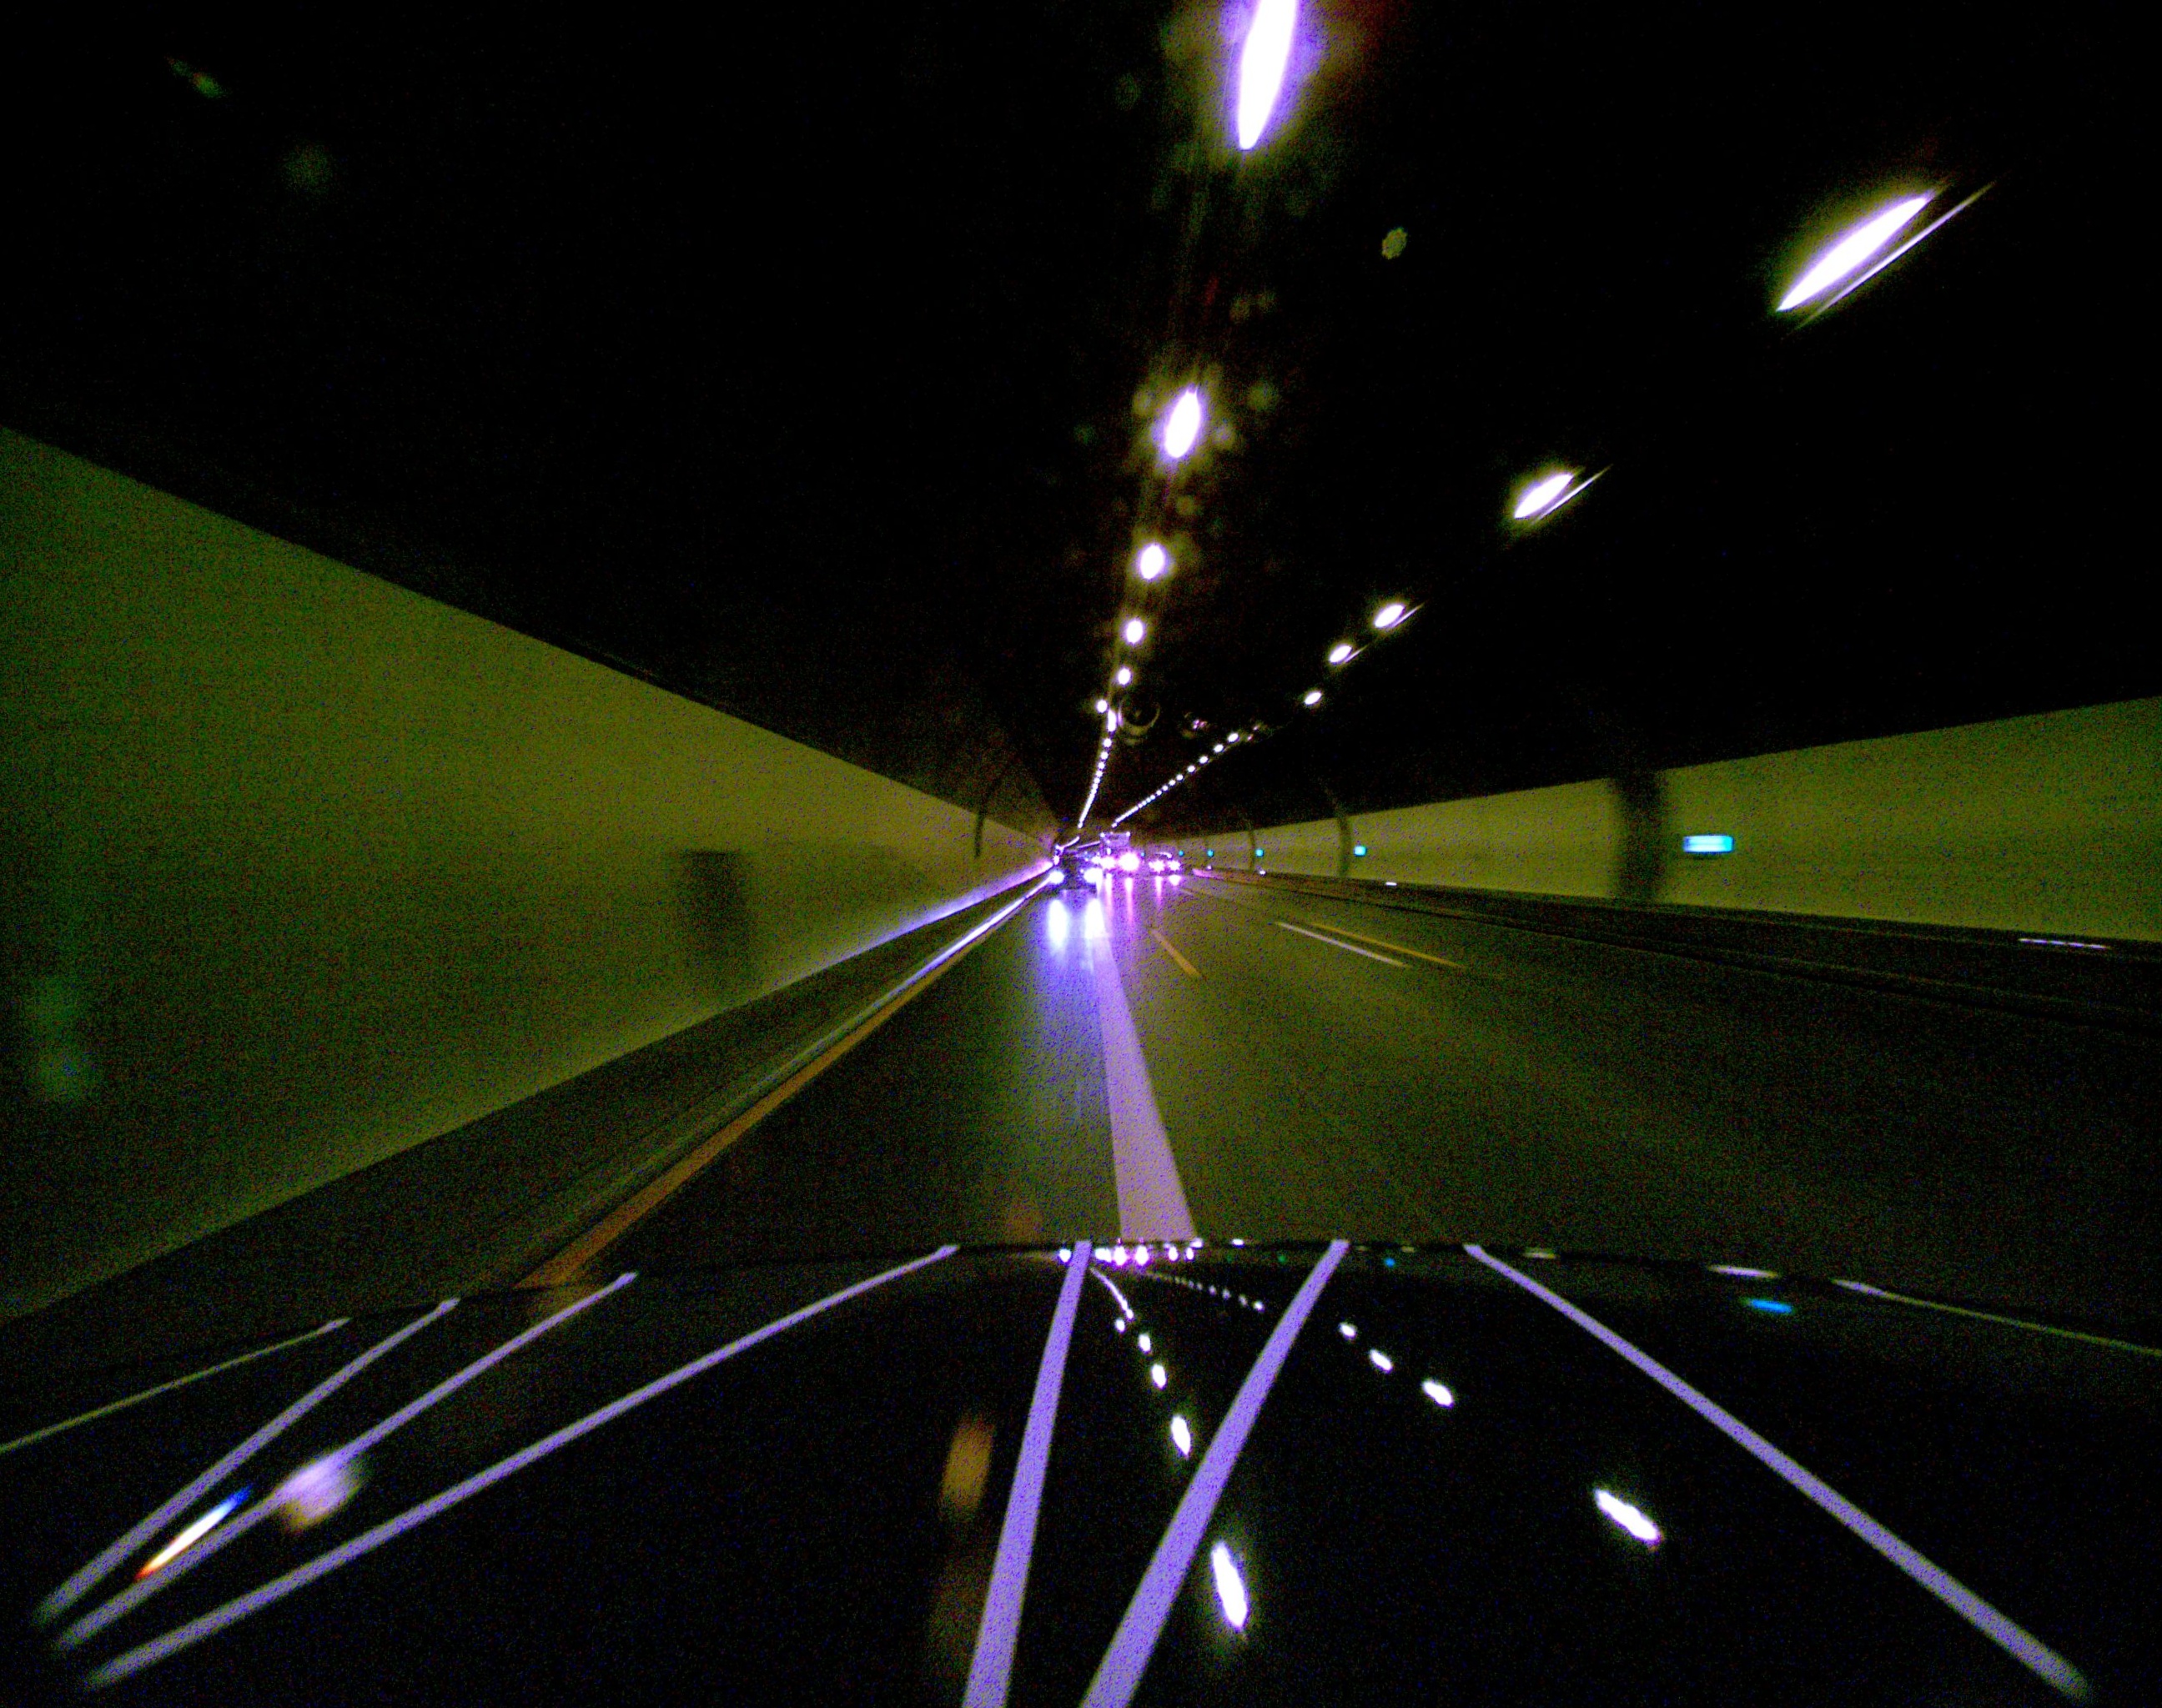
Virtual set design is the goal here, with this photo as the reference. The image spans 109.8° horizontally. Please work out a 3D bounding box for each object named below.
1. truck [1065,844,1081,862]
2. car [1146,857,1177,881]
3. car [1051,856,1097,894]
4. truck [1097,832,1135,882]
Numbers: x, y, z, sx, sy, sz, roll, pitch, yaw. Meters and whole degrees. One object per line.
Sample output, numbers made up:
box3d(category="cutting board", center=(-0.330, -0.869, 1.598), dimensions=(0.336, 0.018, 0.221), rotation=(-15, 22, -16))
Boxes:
box3d(category="truck", center=(-1.227, -0.075, 120.063), dimensions=(2.151, 2.608, 9.909), rotation=(-1, -2, 1))
box3d(category="car", center=(5.778, 1.054, 54.967), dimensions=(1.766, 1.563, 4.097), rotation=(-1, 0, 1))
box3d(category="car", center=(-0.238, 0.865, 32.657), dimensions=(1.727, 1.474, 4.001), rotation=(-1, 0, 3))
box3d(category="truck", center=(2.523, 0.209, 55.627), dimensions=(2.374, 3.328, 4.719), rotation=(-3, 0, 0))
